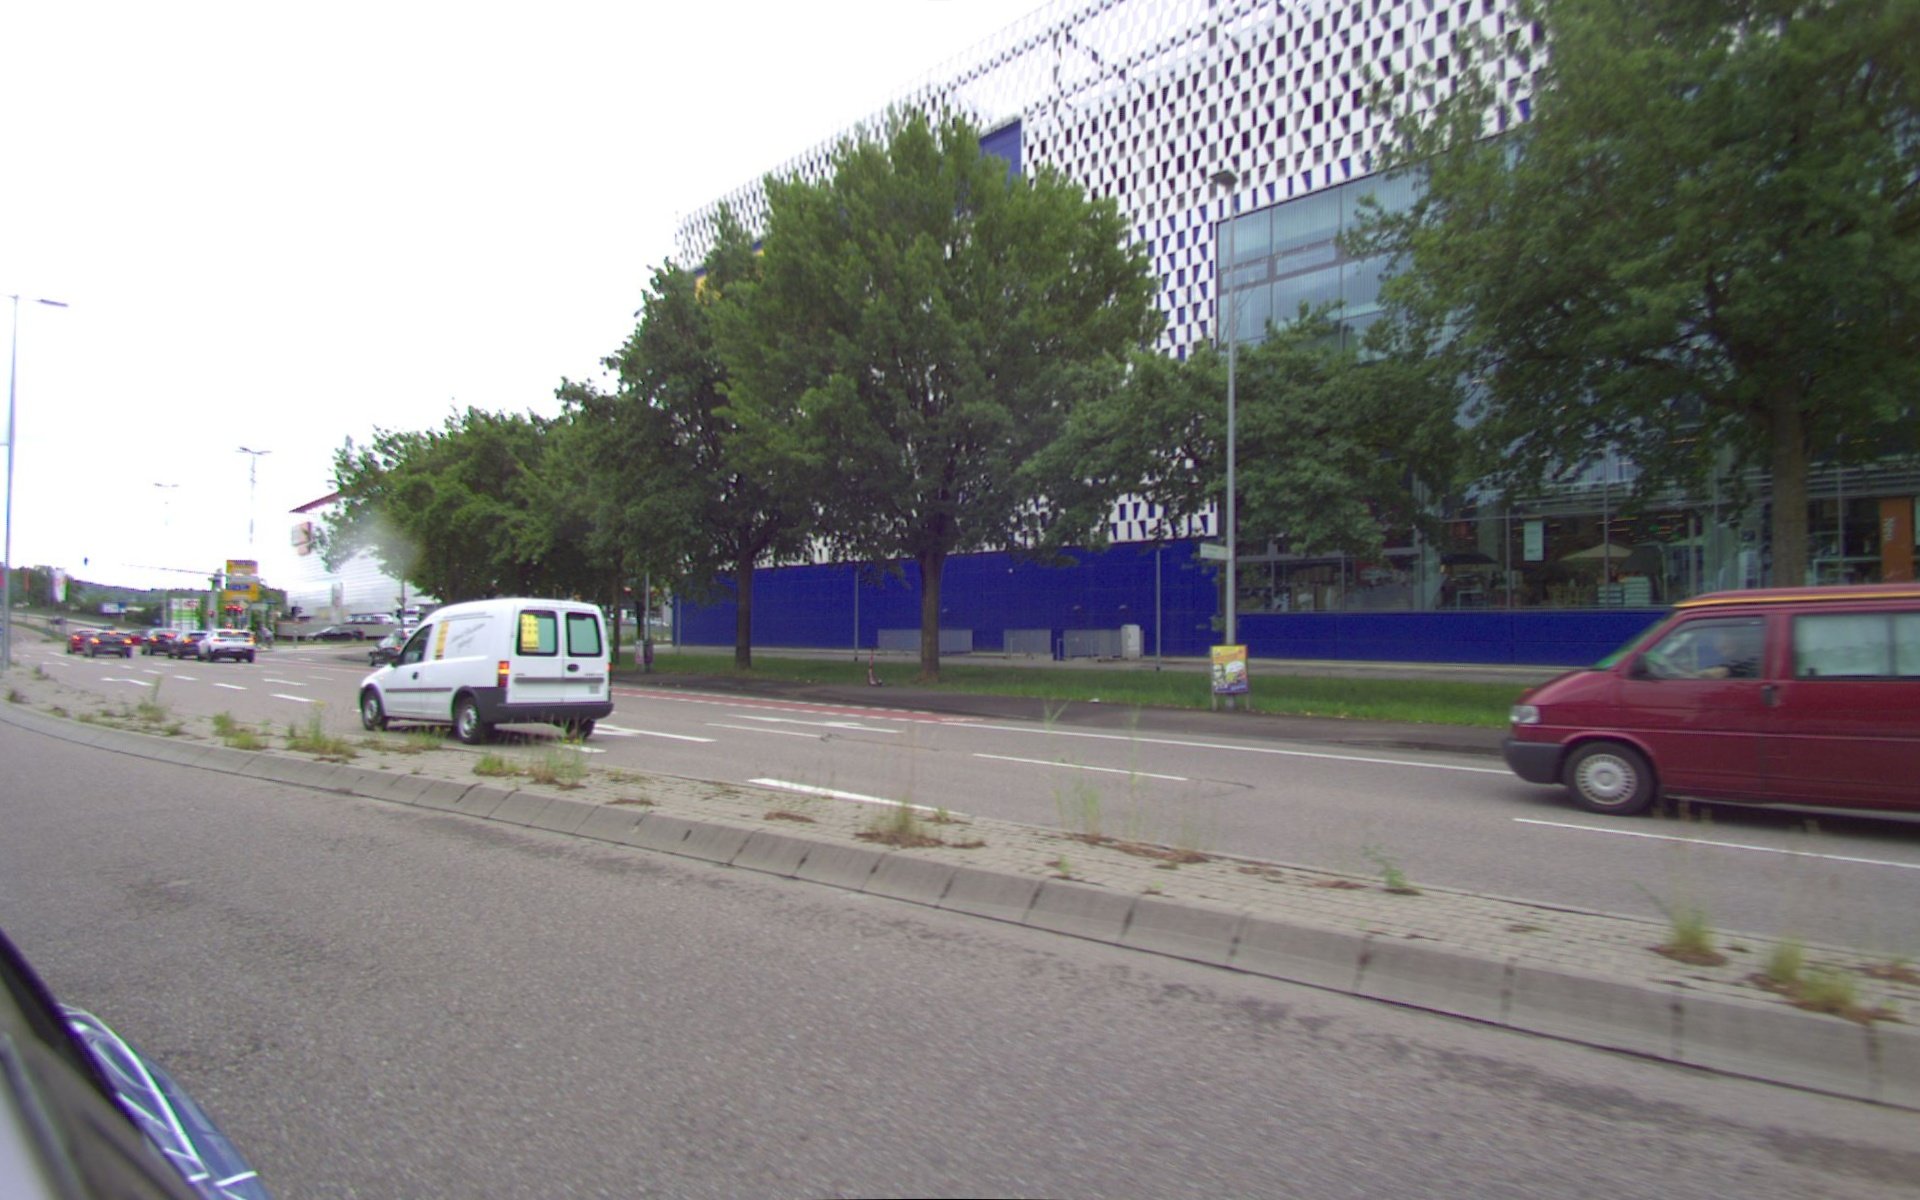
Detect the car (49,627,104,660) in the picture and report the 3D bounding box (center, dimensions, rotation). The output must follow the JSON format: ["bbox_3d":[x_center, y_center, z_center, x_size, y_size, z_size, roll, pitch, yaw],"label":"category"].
[{"bbox_3d":[-52.098,2.565,59.643,3.975,1.812,1.630,-2,-5,38],"label":"car"}]

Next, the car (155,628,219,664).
[{"bbox_3d":[-40.797,2.416,53.383,3.975,1.812,1.630,-2,-5,38],"label":"car"}]

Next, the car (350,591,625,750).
[{"bbox_3d":[-6.340,0.888,13.429,3.975,1.812,1.630,-2,-4,38],"label":"car"}]

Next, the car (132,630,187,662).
[{"bbox_3d":[-47.863,2.727,60.476,3.975,1.812,1.630,-2,-5,38],"label":"car"}]

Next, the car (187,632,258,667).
[{"bbox_3d":[-36.062,2.435,49.475,3.975,1.624,1.706,-2,-5,38],"label":"car"}]

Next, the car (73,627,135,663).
[{"bbox_3d":[-45.130,2.371,53.355,3.975,1.812,1.630,-2,-5,38],"label":"car"}]

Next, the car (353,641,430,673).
[{"bbox_3d":[-26.122,2.602,46.482,3.975,1.401,1.630,-2,-5,38],"label":"car"}]

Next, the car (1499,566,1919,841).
[{"bbox_3d":[7.192,0.769,7.971,4.909,1.939,1.747,-2,-4,43],"label":"car"}]
